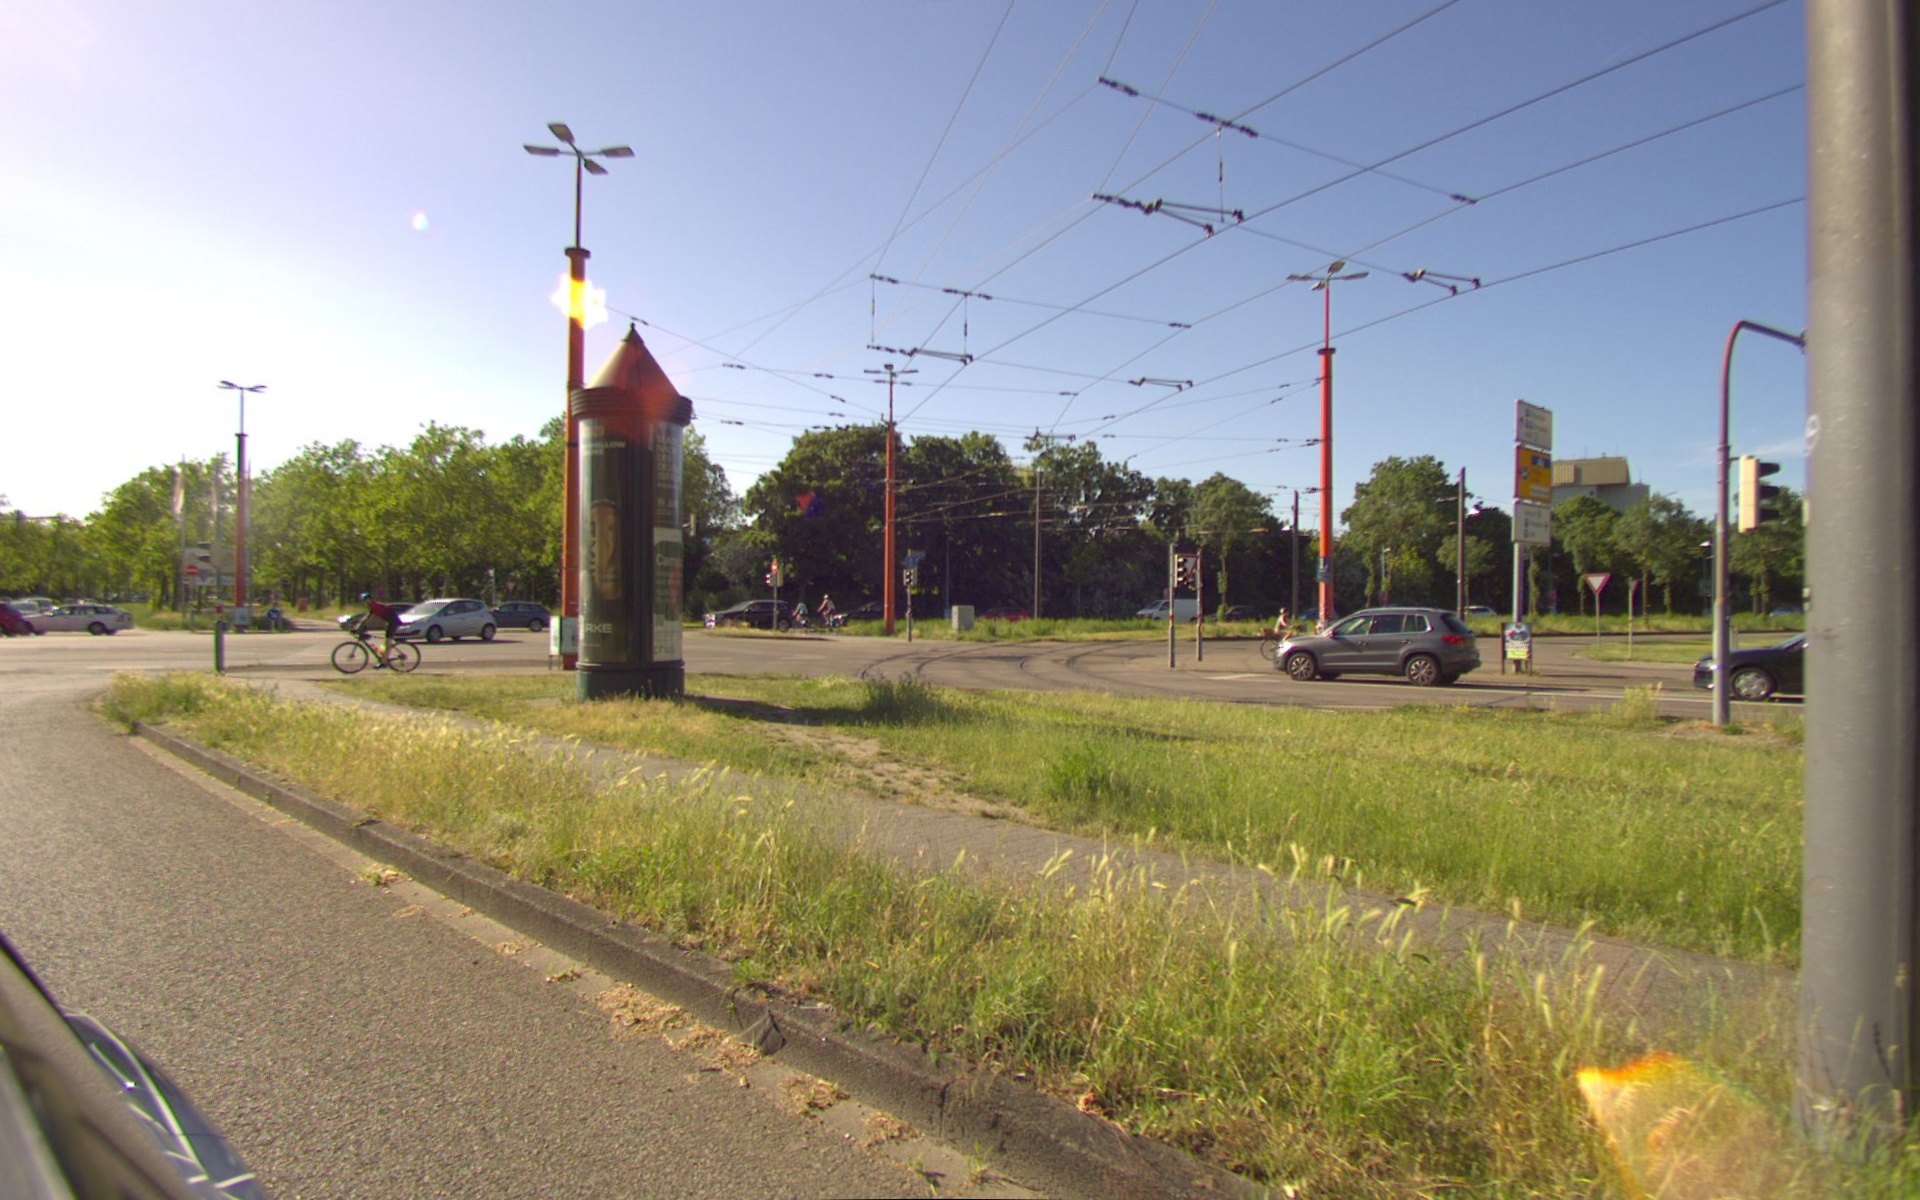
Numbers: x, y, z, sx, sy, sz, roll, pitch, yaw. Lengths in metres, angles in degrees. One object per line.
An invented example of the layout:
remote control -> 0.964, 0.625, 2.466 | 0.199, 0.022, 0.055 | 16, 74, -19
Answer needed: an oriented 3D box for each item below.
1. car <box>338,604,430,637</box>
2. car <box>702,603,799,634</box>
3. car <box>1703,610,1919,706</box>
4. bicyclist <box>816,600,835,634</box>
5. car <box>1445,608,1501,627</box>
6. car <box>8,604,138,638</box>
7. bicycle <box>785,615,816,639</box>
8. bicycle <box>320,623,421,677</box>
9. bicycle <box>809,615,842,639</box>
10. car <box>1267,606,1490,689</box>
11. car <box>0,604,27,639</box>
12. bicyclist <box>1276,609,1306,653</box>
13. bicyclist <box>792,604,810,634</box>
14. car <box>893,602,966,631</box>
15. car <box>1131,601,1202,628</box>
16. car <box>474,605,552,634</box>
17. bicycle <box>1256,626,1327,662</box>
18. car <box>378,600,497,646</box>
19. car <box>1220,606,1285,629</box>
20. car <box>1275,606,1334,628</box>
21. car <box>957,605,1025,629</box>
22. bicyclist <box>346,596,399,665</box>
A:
car -> -27.386, 0.994, 48.264 | 3.720, 1.522, 1.619 | 1, -1, -27
car -> -10.732, 0.931, 51.942 | 4.550, 1.522, 1.794 | 1, -1, -36
car -> 15.334, 0.938, 17.218 | 4.263, 1.522, 1.776 | 0, -1, 39
bicyclist -> -6.544, 0.822, 49.205 | 0.715, 1.664, 0.554 | 0, -1, 43
car -> 40.719, 1.382, 80.317 | 3.930, 1.522, 1.806 | 0, -1, -23
car -> -40.964, 0.984, 46.863 | 4.173, 1.522, 1.806 | 0, -1, -24
bicycle -> -7.721, 1.312, 49.048 | 1.800, 1.116, 0.493 | 0, -1, 43
bicycle -> -12.914, 1.084, 22.234 | 1.868, 1.116, 0.705 | 0, 0, -25
bicycle -> -6.546, 1.314, 49.199 | 1.800, 1.116, 0.554 | 0, -1, 43
car -> 9.230, 0.976, 22.536 | 4.265, 1.691, 1.775 | 0, -1, 41
car -> -41.382, 0.892, 41.977 | 3.608, 1.470, 1.595 | 0, -1, -24
bicyclist -> 10.513, 0.992, 32.125 | 0.788, 1.391, 0.654 | -2, -3, 30
bicyclist -> -7.719, 0.921, 49.052 | 0.778, 1.458, 0.493 | 0, -1, 43
car -> -1.788, 0.984, 59.195 | 3.931, 1.667, 1.806 | 0, -1, -19
car -> 14.186, 1.012, 69.536 | 4.478, 1.849, 1.806 | 0, -1, -23
car -> -23.681, 1.026, 53.672 | 3.720, 1.518, 1.619 | 0, -1, -23
bicycle -> 10.514, 1.411, 32.100 | 2.036, 1.116, 0.654 | -2, -3, 30
car -> -19.424, 0.856, 37.806 | 1.691, 1.600, 3.880 | 0, -1, 19
car -> 19.689, 1.152, 68.097 | 3.930, 1.522, 1.806 | 0, -1, -23
car -> 25.289, 1.253, 74.306 | 3.930, 1.522, 1.806 | 0, -1, -23
car -> 1.949, 1.085, 64.465 | 3.930, 1.522, 1.806 | 0, -1, -23
bicyclist -> -12.903, 0.656, 22.239 | 0.940, 1.489, 0.705 | 0, 0, -25
